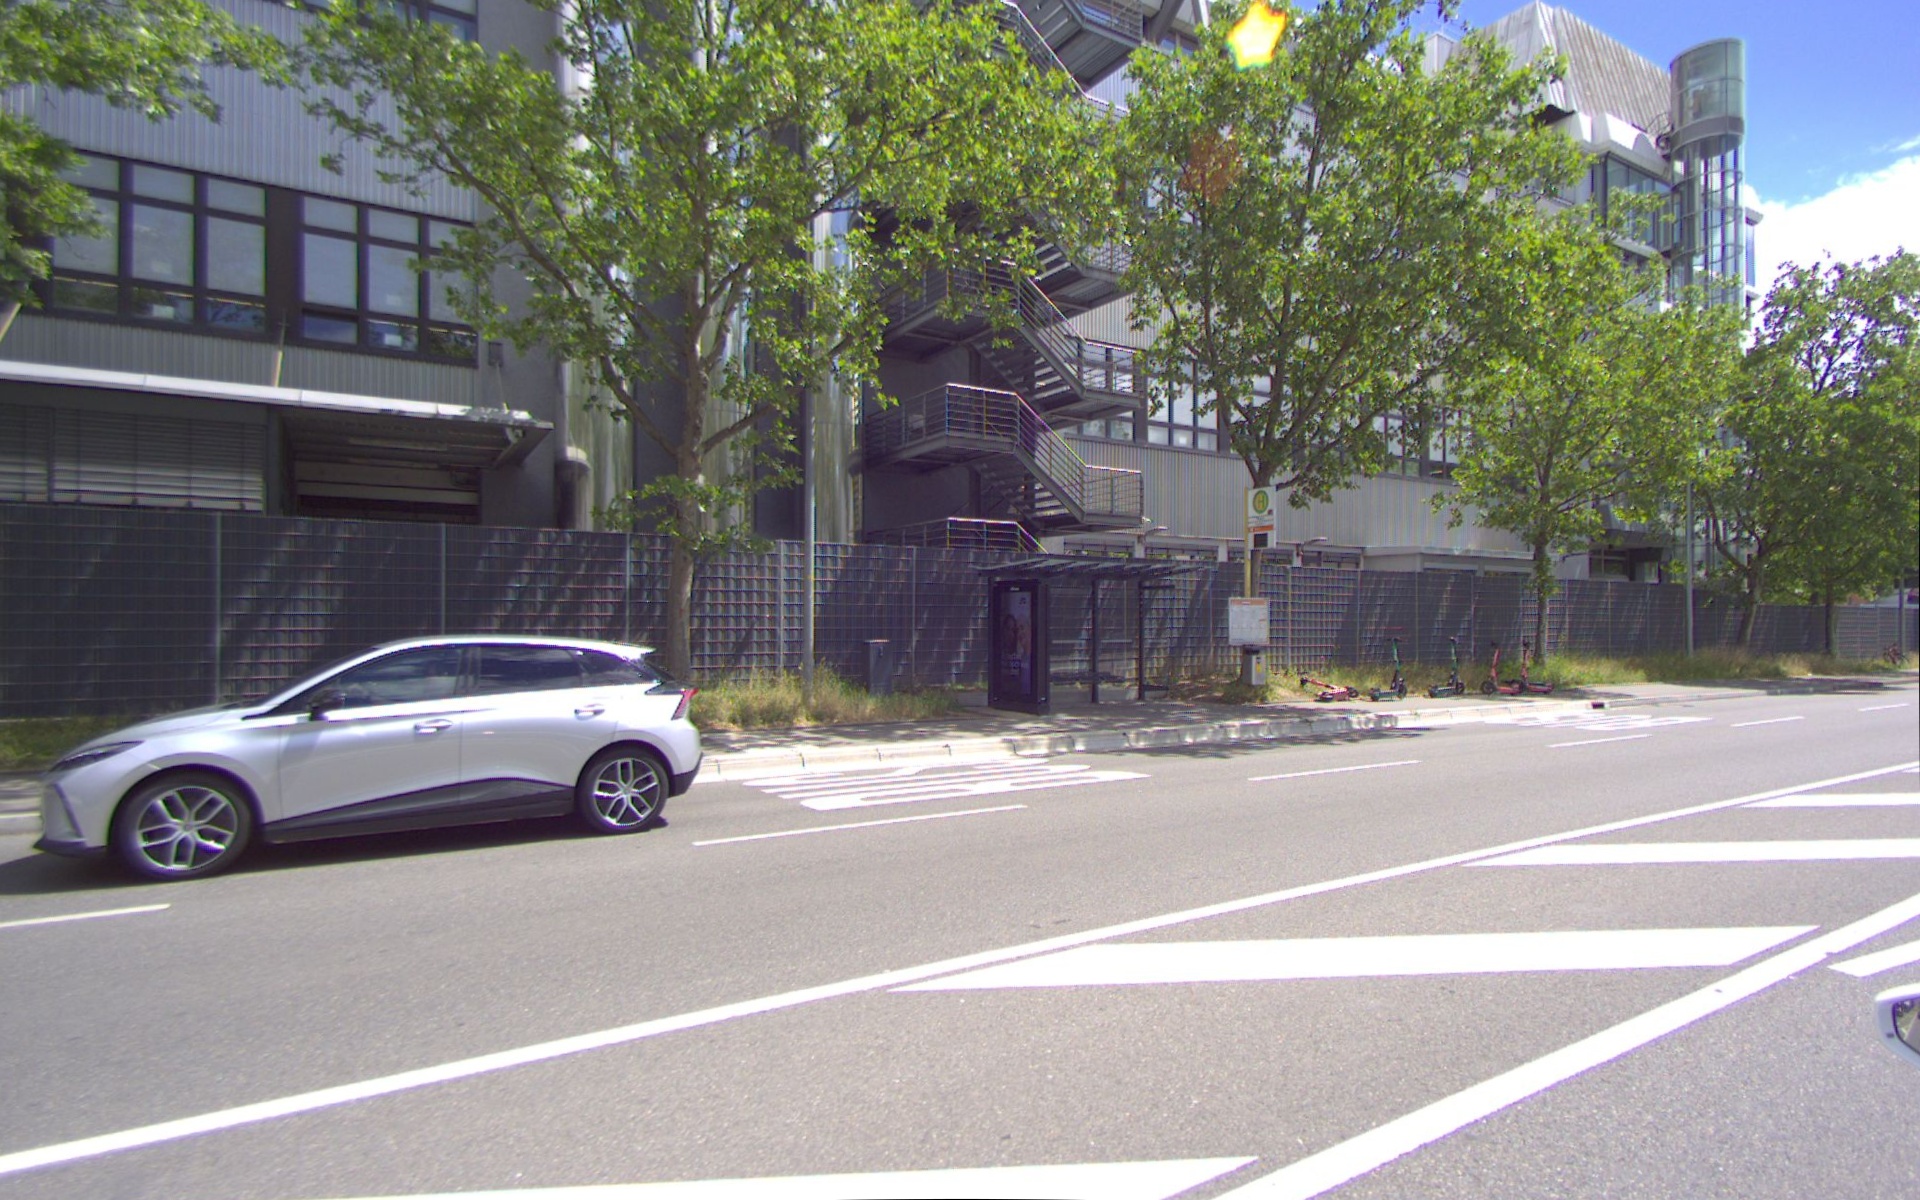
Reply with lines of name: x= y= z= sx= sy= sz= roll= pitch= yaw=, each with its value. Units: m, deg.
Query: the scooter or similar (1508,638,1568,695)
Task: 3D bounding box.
scooter or similar: x=13.610 y=1.553 z=23.648 sx=1.300 sy=1.251 sz=0.521 roll=1 pitch=2 yaw=-26

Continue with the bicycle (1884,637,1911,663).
bicycle: x=38.183 y=2.050 z=40.922 sx=1.233 sy=1.019 sz=0.296 roll=2 pitch=0 yaw=-22

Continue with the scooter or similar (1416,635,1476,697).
scooter or similar: x=10.563 y=1.418 z=21.833 sx=1.303 sy=1.251 sz=0.520 roll=0 pitch=3 yaw=-33

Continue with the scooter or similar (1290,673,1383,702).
scooter or similar: x=7.744 y=1.787 z=20.730 sx=1.460 sy=0.385 sz=1.364 roll=2 pitch=2 yaw=4

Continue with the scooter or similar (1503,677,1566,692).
scooter or similar: x=14.013 y=2.063 z=24.508 sx=1.249 sy=0.327 sz=0.538 roll=0 pitch=0 yaw=-7

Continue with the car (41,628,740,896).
car: x=-3.981 y=1.002 z=7.677 sx=4.142 sy=1.525 sz=1.869 roll=1 pitch=-3 yaw=-31

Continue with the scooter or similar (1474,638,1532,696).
scooter or similar: x=12.422 y=1.523 z=22.975 sx=1.302 sy=1.251 sz=0.520 roll=0 pitch=3 yaw=-30

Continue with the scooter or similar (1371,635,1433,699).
scooter or similar: x=9.272 y=1.395 z=21.051 sx=1.303 sy=1.251 sz=0.520 roll=0 pitch=3 yaw=-33
